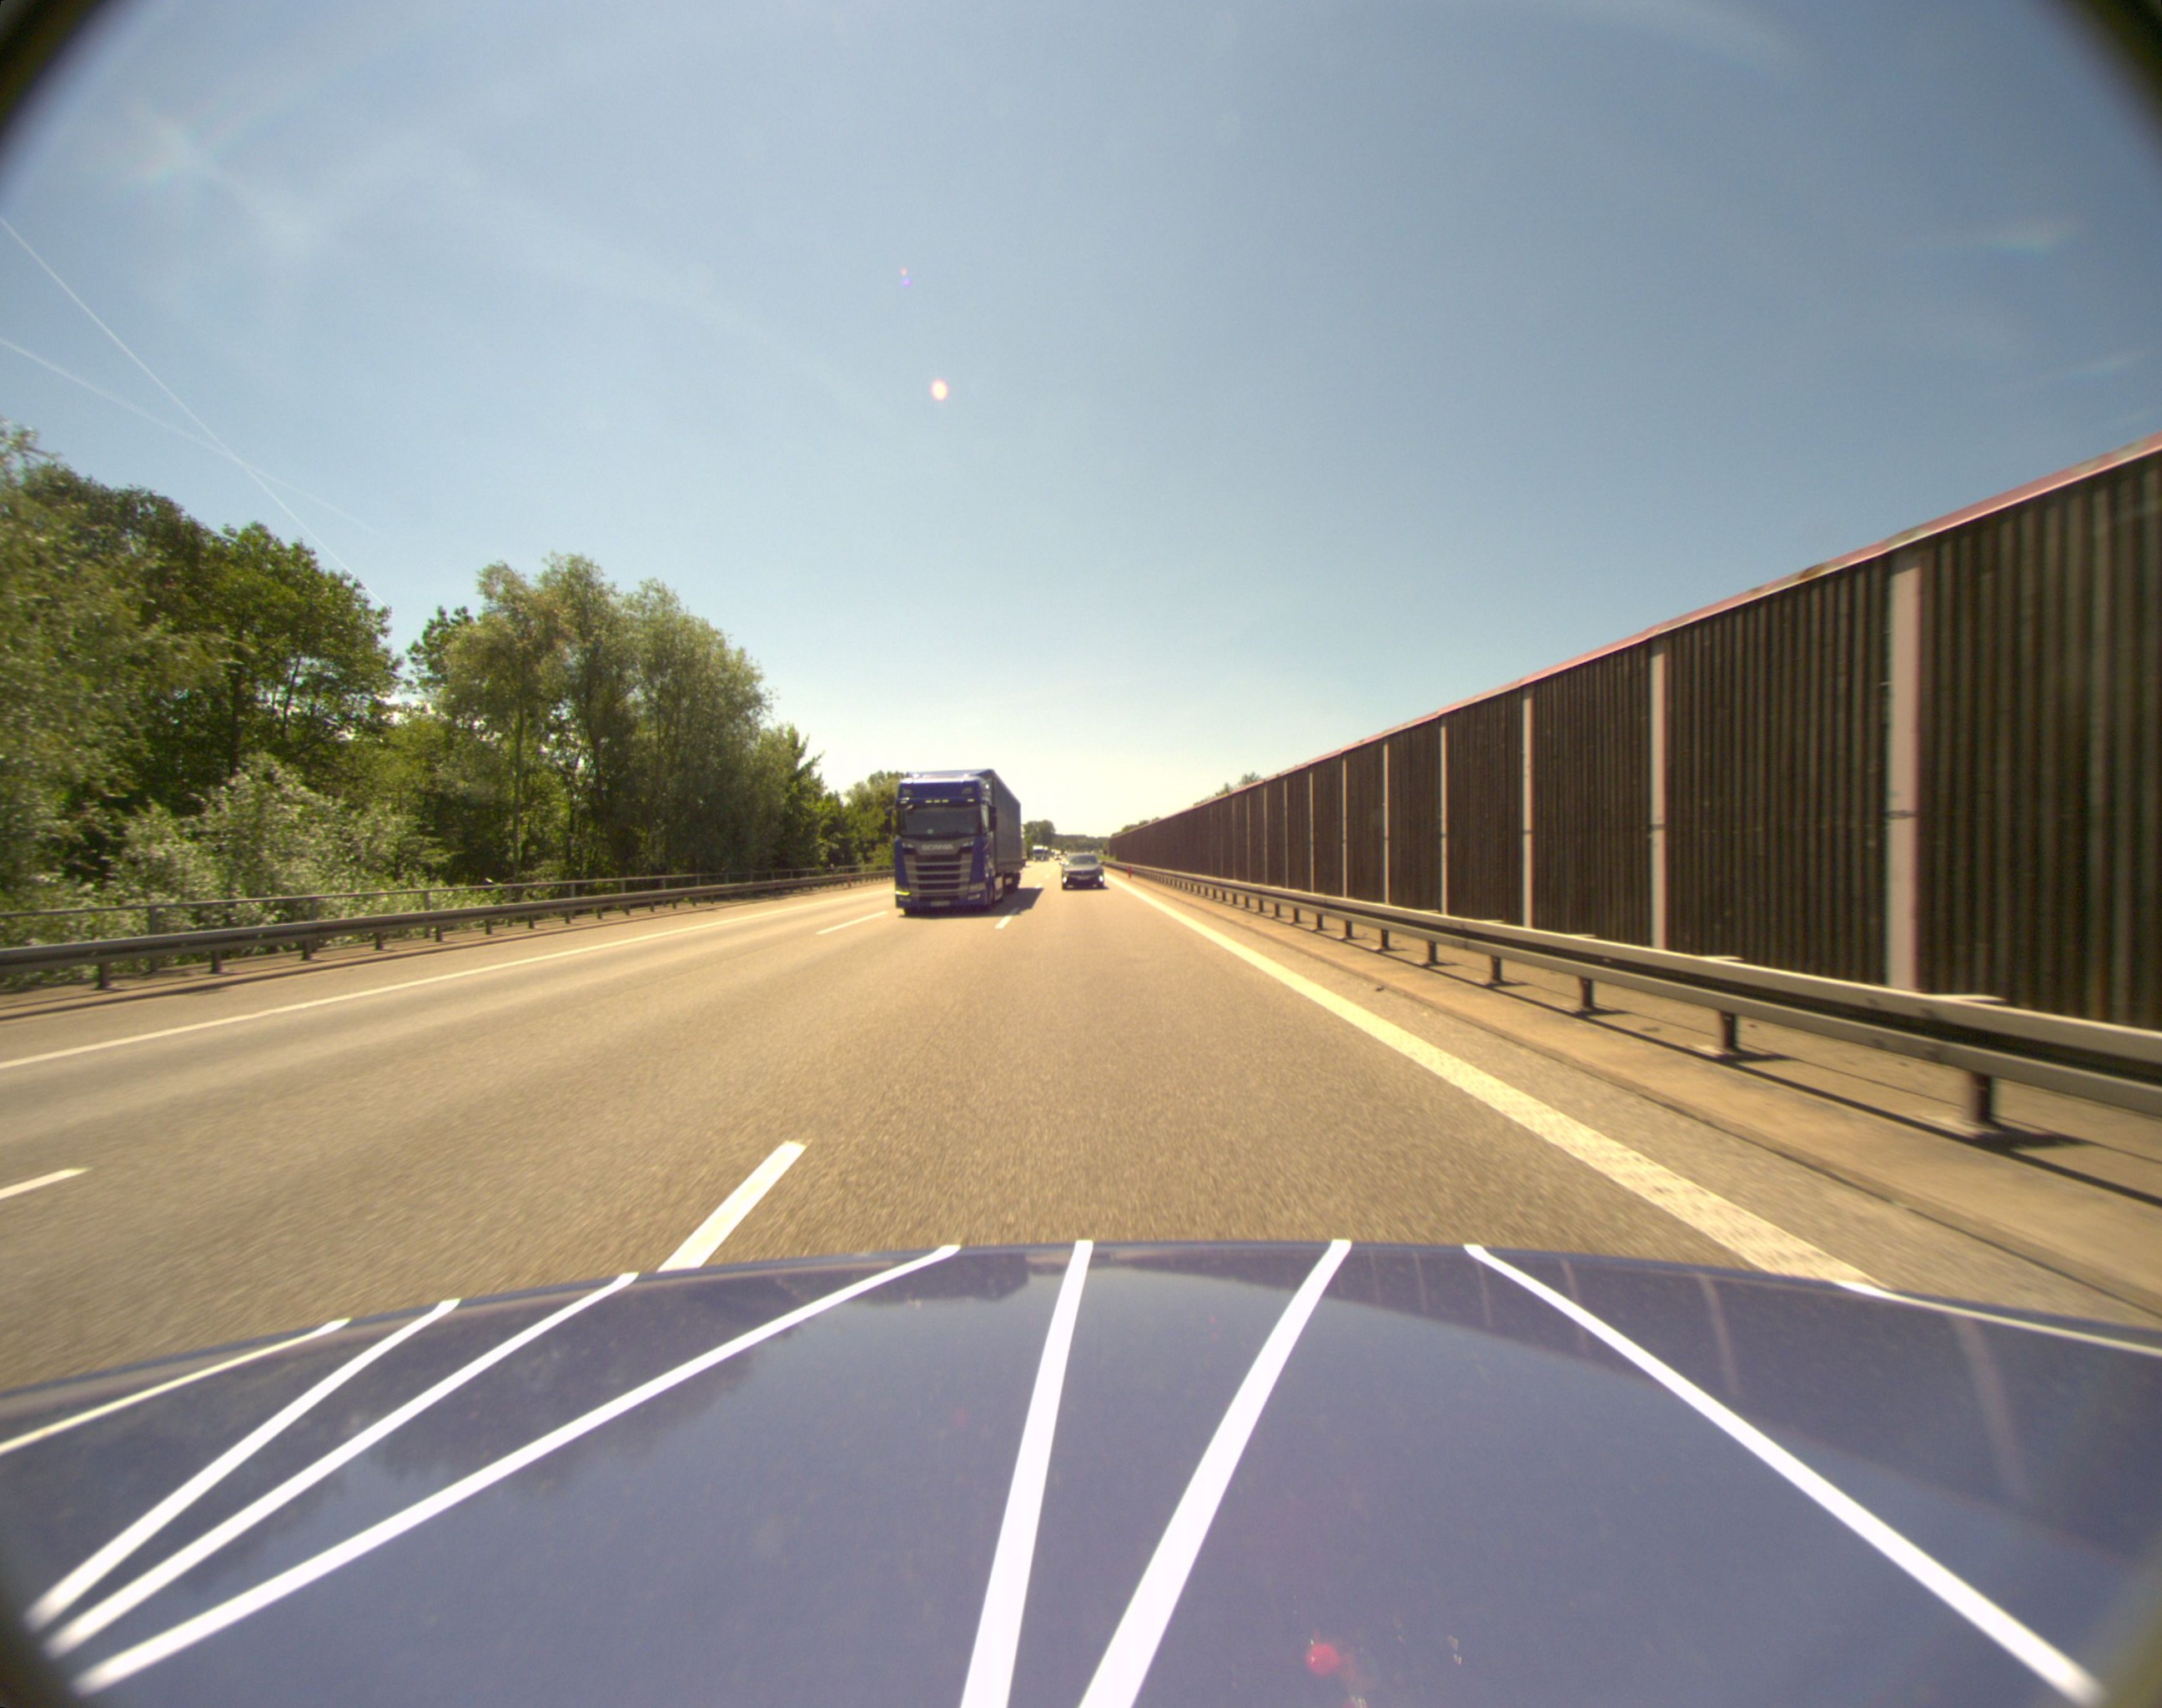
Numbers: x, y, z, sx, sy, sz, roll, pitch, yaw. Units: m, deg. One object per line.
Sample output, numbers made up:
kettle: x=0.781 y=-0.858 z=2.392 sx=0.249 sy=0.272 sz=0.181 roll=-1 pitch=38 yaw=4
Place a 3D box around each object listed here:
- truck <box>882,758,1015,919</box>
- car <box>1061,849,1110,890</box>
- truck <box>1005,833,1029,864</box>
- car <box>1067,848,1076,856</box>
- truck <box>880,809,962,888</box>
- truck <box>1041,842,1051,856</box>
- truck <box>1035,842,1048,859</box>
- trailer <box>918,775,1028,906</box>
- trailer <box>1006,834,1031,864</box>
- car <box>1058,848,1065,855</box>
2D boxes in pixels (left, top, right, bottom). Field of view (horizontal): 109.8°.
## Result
truck: x=-3.743 y=-0.426 z=23.237 sx=2.707 sy=4.094 sz=6.989 roll=-2 pitch=0 yaw=0
car: x=0.119 y=0.640 z=33.561 sx=1.885 sy=1.630 sz=5.007 roll=-2 pitch=0 yaw=-2
truck: x=-8.833 y=-0.740 z=105.708 sx=2.803 sy=4.094 sz=7.768 roll=-2 pitch=0 yaw=-2
car: x=-2.298 y=-0.502 z=186.483 sx=1.998 sy=1.717 sz=4.000 roll=-2 pitch=0 yaw=0
truck: x=-9.462 y=-0.324 z=46.324 sx=2.820 sy=4.139 sz=10.446 roll=-2 pitch=0 yaw=-1
truck: x=-10.176 y=-1.472 z=224.456 sx=2.743 sy=3.844 sz=12.463 roll=-2 pitch=0 yaw=-2
truck: x=-10.191 y=-0.879 z=197.536 sx=2.992 sy=4.248 sz=9.821 roll=-2 pitch=0 yaw=-2
trailer: x=-3.864 y=-0.452 z=30.310 sx=2.707 sy=4.094 sz=12.129 roll=-2 pitch=0 yaw=-1
trailer: x=-9.012 y=-0.693 z=111.358 sx=2.803 sy=4.094 sz=12.297 roll=-2 pitch=0 yaw=-2
car: x=-5.793 y=-0.721 z=222.400 sx=1.999 sy=2.002 sz=3.999 roll=-2 pitch=0 yaw=-3
